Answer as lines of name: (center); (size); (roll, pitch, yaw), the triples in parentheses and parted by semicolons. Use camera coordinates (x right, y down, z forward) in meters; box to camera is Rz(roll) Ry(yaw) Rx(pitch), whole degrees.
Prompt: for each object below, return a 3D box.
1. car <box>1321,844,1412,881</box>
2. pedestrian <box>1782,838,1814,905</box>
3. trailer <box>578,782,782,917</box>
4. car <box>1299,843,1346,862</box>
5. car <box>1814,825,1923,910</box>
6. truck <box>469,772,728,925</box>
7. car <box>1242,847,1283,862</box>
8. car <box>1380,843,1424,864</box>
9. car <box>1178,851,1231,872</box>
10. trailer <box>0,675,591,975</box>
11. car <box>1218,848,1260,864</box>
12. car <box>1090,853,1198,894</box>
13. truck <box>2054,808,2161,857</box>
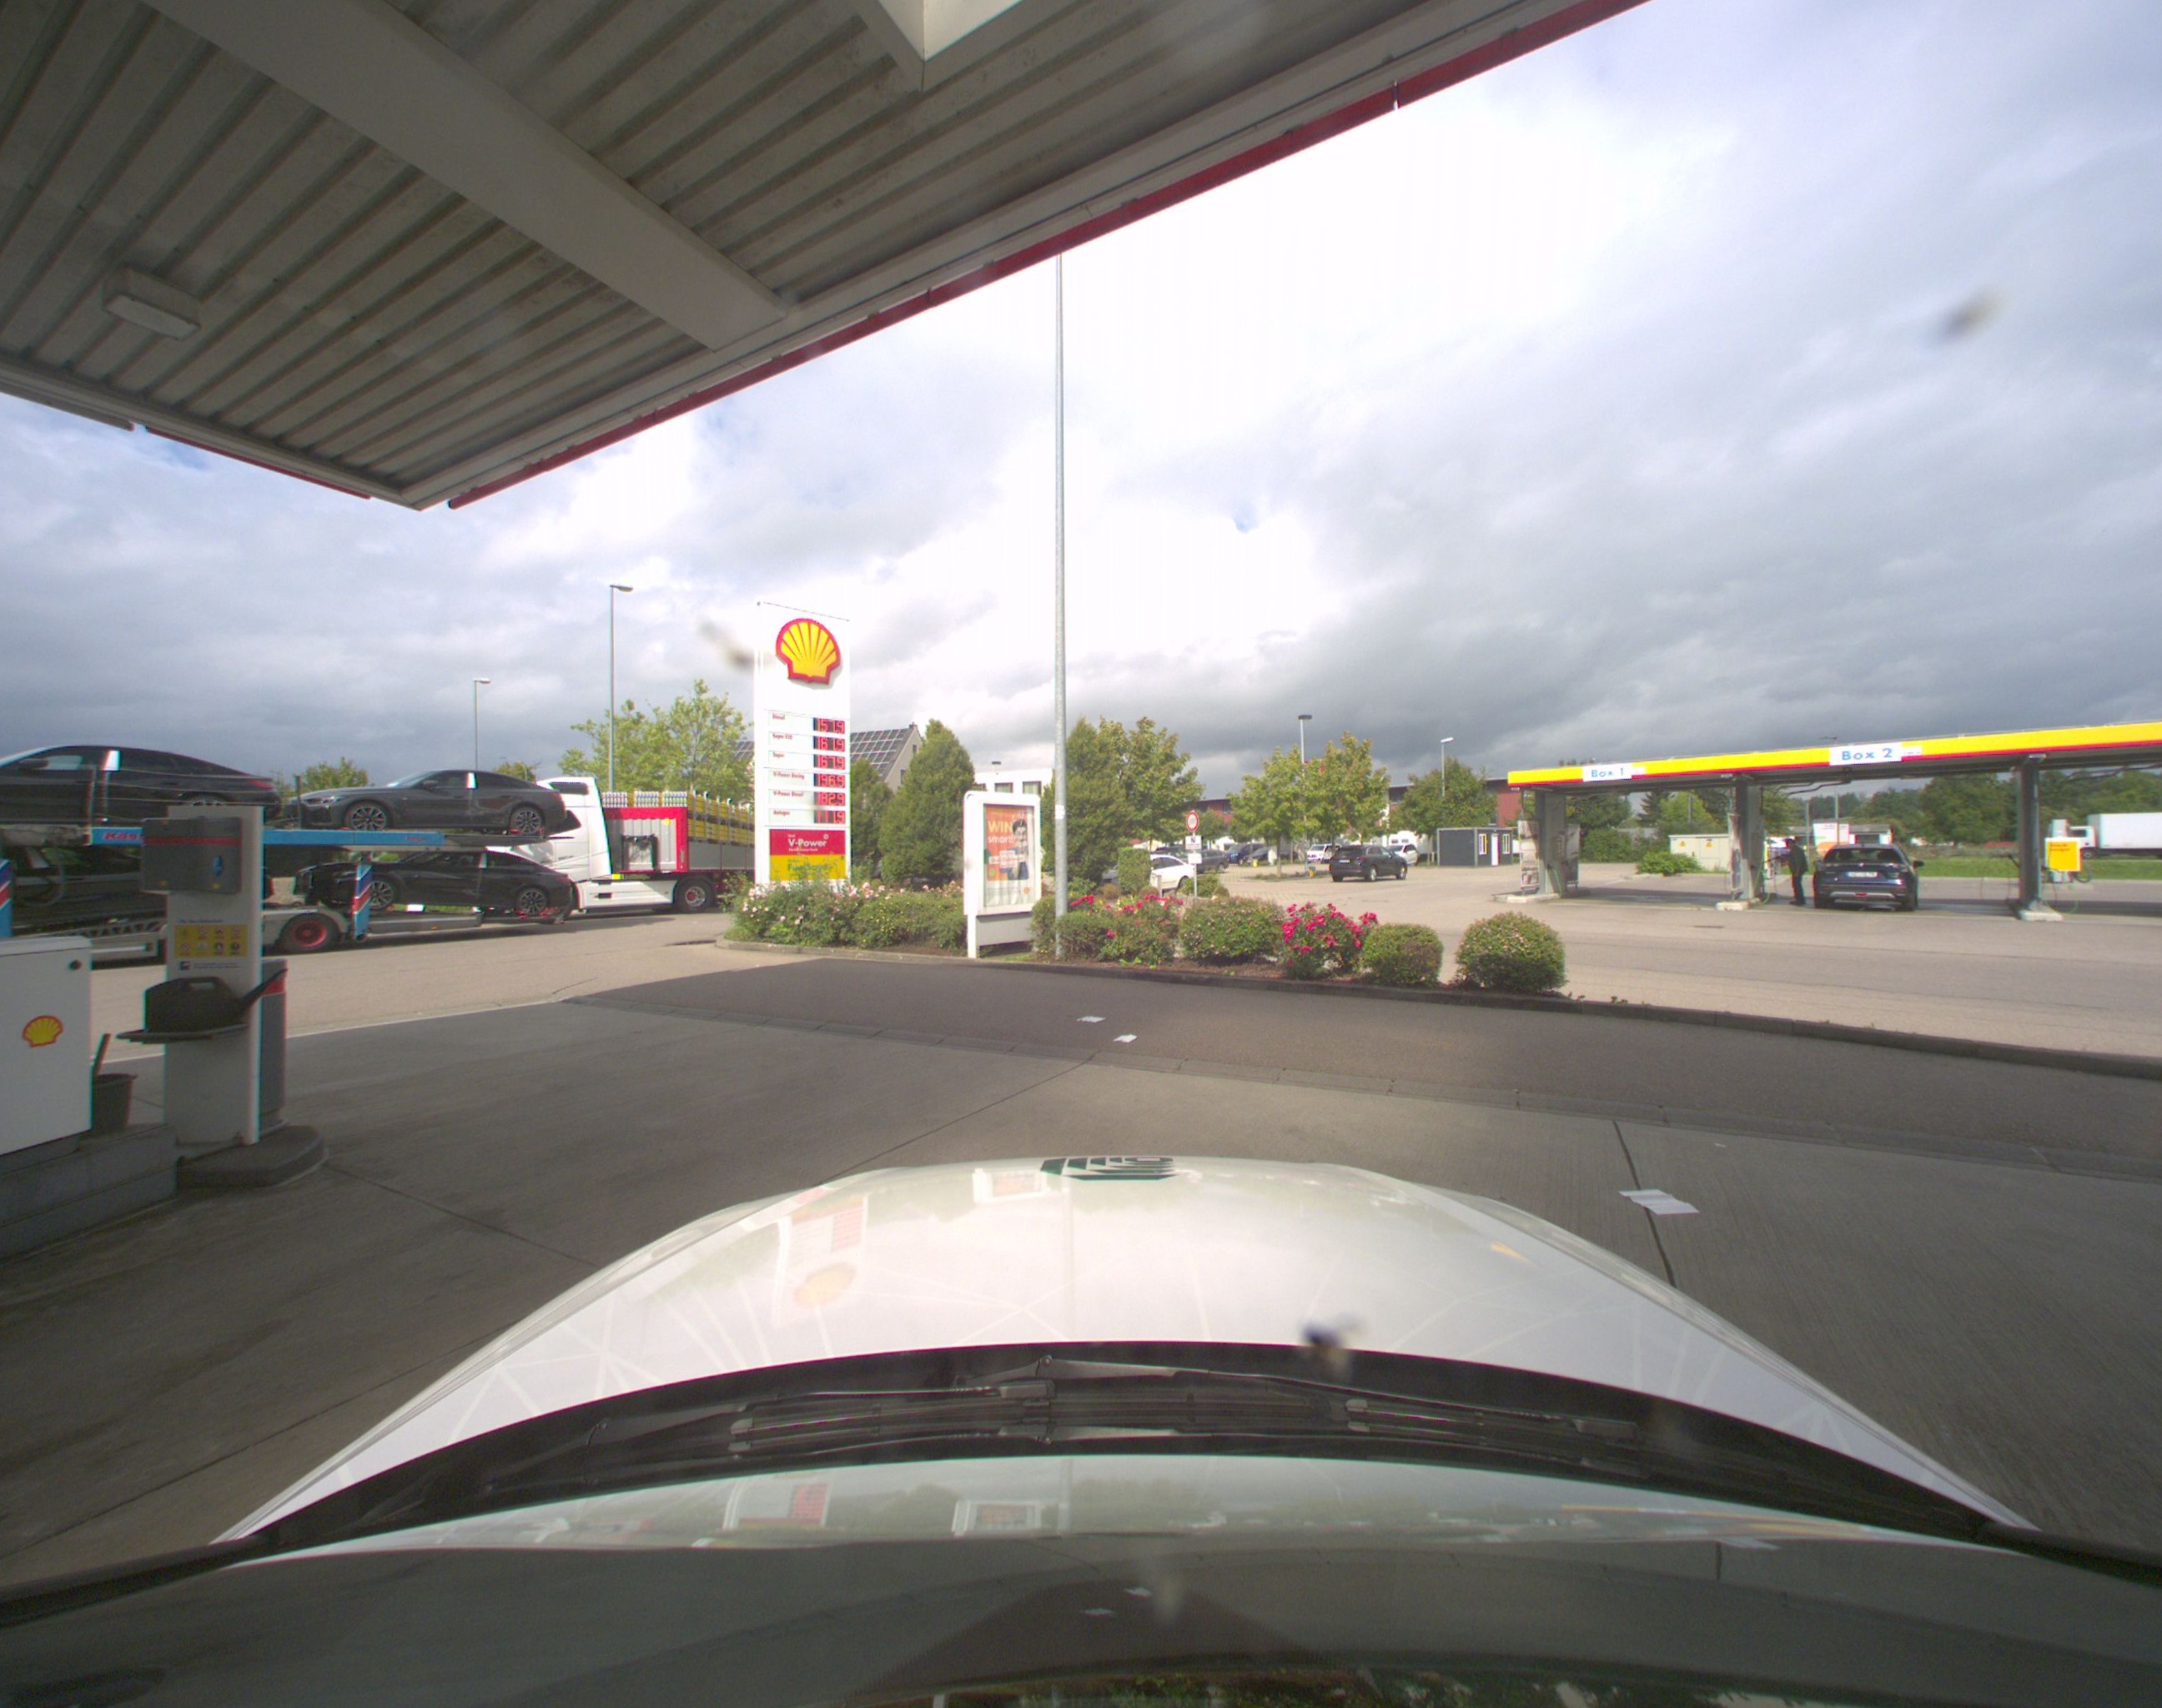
car: (12.874, 0.373, 36.569); (4.527, 1.548, 1.864); (0, -1, -41)
pedestrian: (18.716, 0.455, 21.268); (0.551, 1.722, 0.531); (-1, -1, 34)
trailer: (-13.583, -0.083, 29.246); (2.729, 3.776, 12.677); (0, -1, -8)
car: (23.867, -0.126, 80.259); (4.903, 1.833, 2.159); (0, -1, -41)
car: (19.438, 0.314, 20.065); (3.828, 1.897, 1.703); (0, -1, -43)
truck: (-13.781, -0.129, 23.590); (2.707, 3.846, 5.954); (-1, -1, 43)
car: (14.488, 0.032, 64.865); (3.437, 1.179, 1.468); (0, -1, -42)
car: (20.604, -0.049, 52.206); (3.120, 1.307, 1.352); (0, -1, -42)
car: (7.537, 0.447, 49.694); (3.245, 1.228, 1.488); (0, -1, -42)
trailer: (-16.434, -0.411, 13.671); (2.711, 4.423, 14.450); (-1, -1, 31)
car: (12.945, 0.180, 66.649); (3.407, 1.320, 1.726); (0, -1, -42)
car: (2.393, 0.683, 30.009); (4.368, 1.404, 1.354); (0, -1, -42)
truck: (78.226, -1.566, 60.005); (7.989, 3.534, 2.714); (-1, -1, 41)
